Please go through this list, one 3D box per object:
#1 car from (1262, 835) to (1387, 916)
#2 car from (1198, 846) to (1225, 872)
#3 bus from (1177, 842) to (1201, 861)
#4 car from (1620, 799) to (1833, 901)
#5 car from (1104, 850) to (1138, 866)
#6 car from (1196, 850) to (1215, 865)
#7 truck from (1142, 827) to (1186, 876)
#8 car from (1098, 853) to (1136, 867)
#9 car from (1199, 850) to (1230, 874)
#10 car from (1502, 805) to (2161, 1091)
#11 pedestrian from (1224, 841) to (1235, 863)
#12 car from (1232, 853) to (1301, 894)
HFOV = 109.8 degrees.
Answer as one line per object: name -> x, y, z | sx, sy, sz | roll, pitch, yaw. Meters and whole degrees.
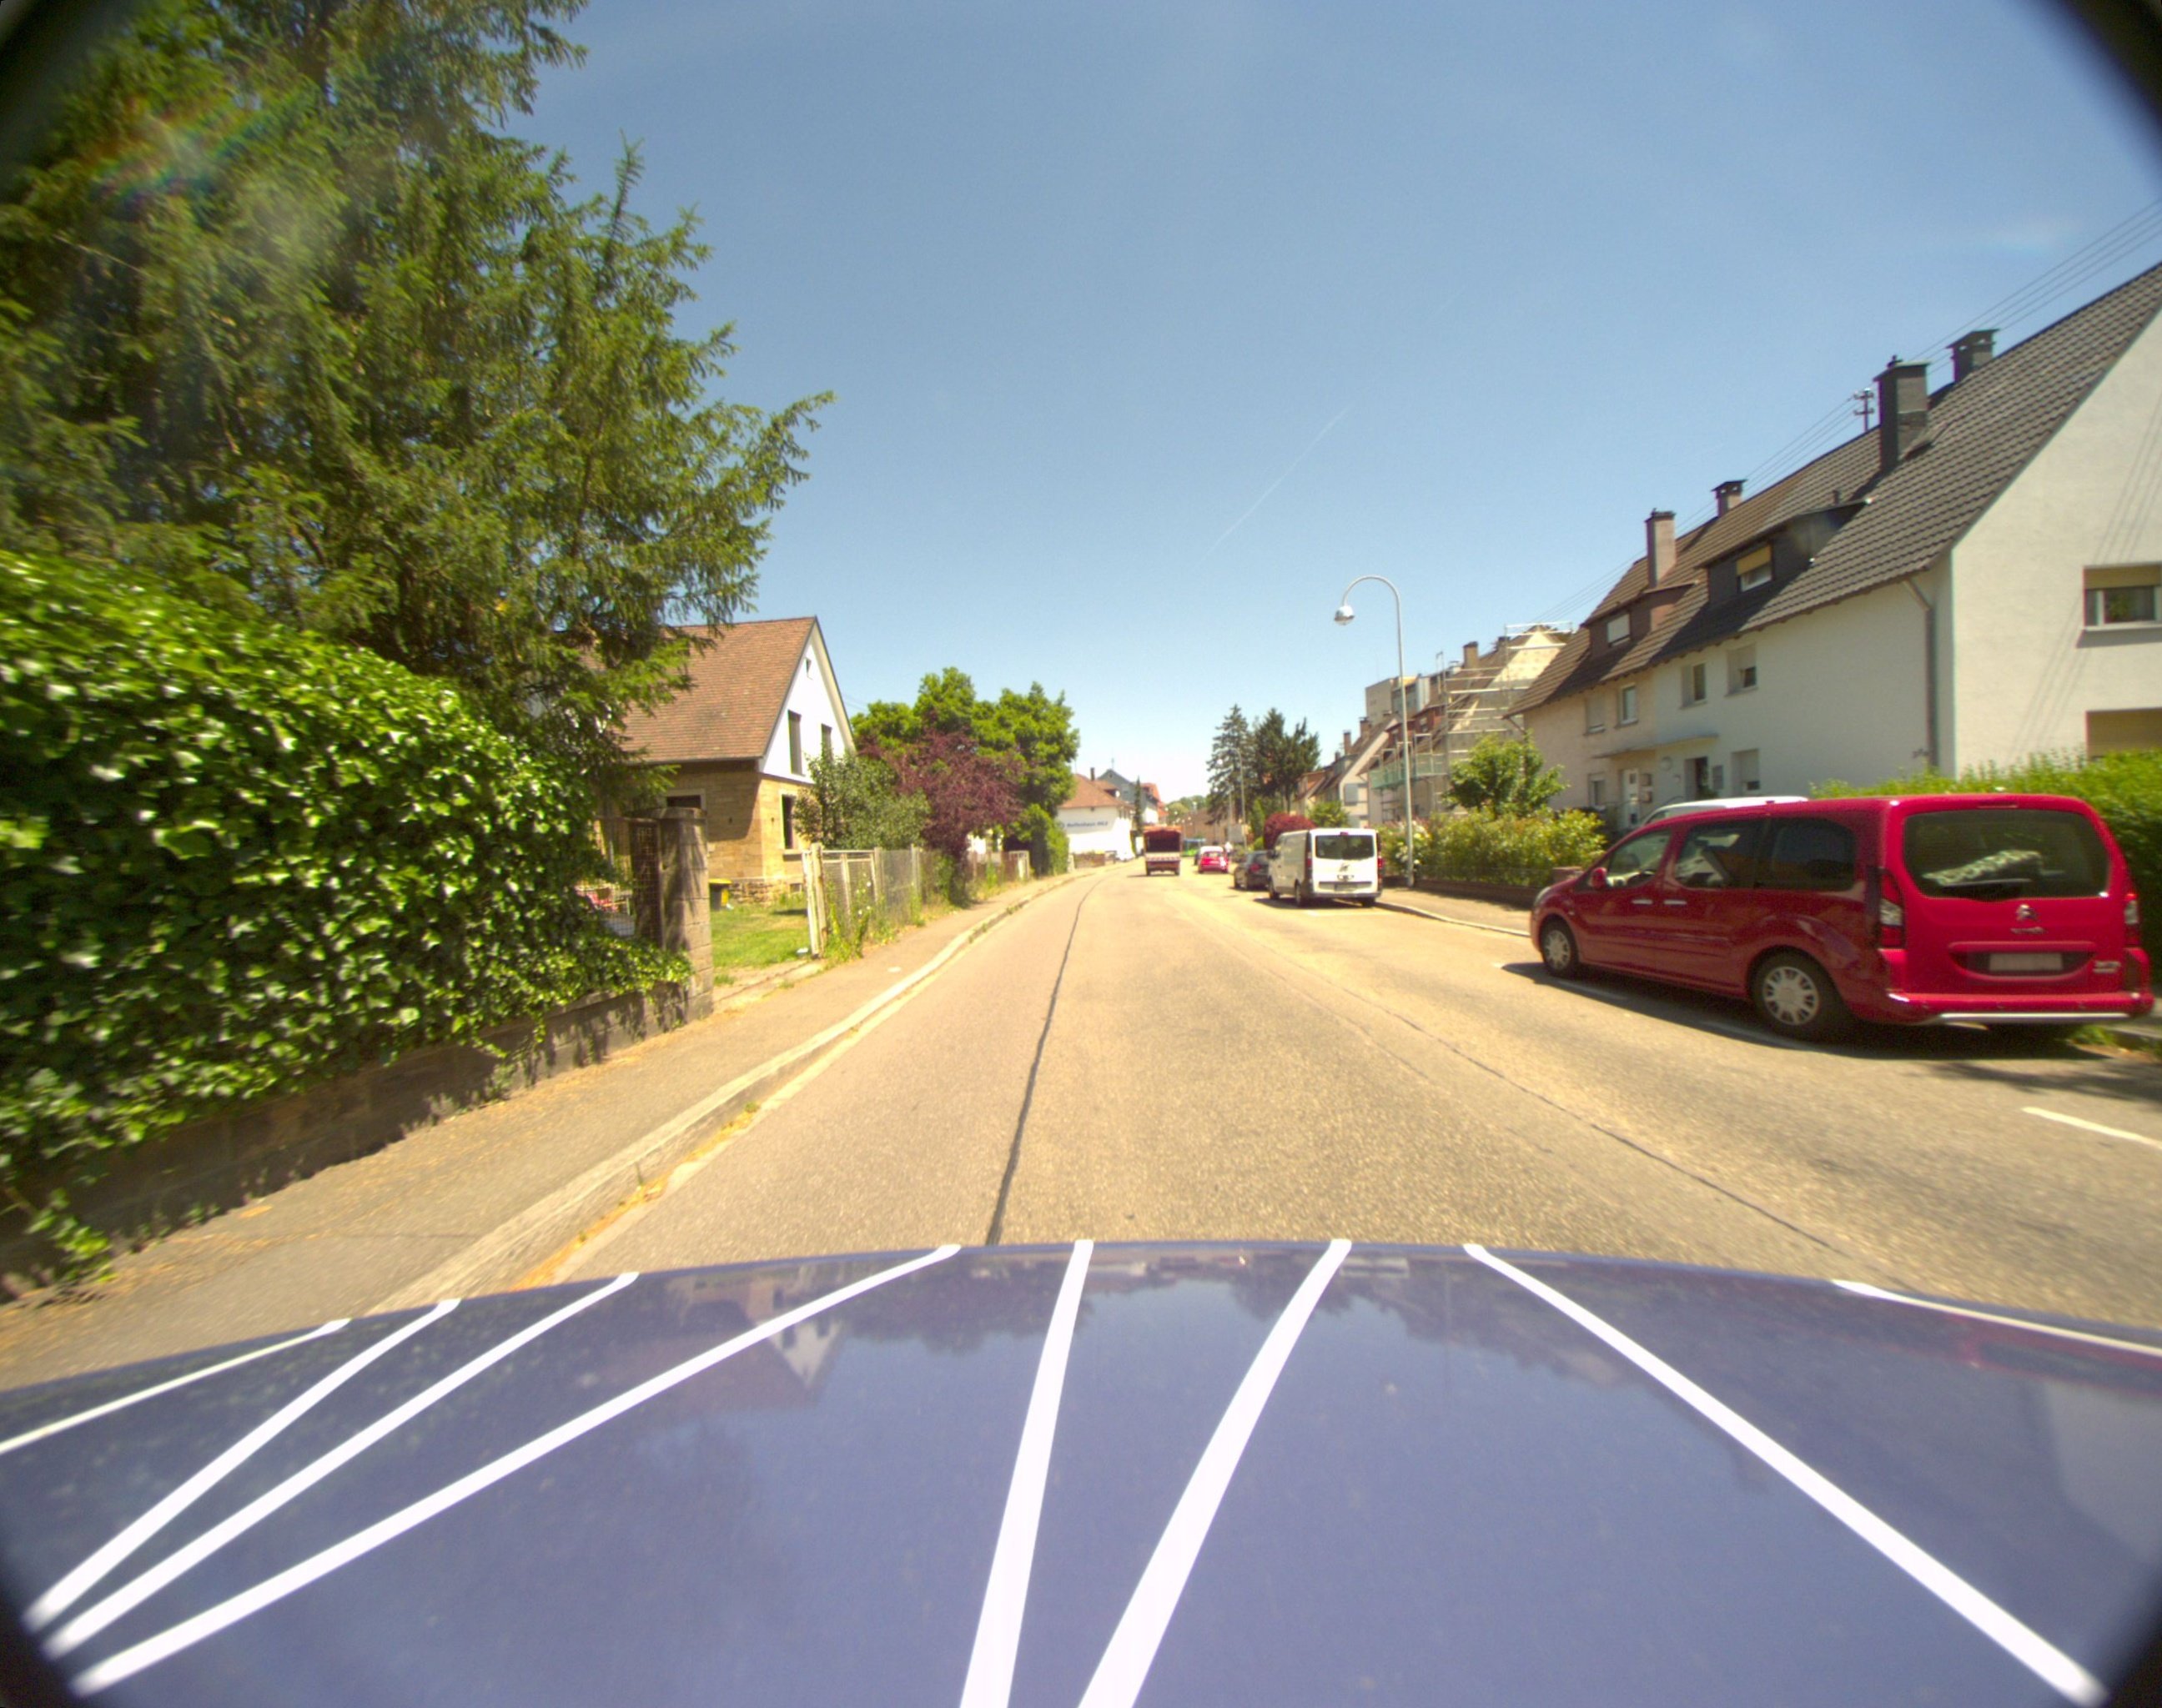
car -> 6.321, 0.496, 20.353 | 1.891, 1.870, 4.981 | -1, 0, 2
car -> 9.067, 0.330, 52.937 | 1.726, 1.726, 3.889 | 0, 0, 8
bus -> 19.090, -0.502, 133.579 | 2.908, 3.062, 12.573 | -2, 0, 13
car -> 13.873, -0.111, 16.670 | 1.718, 1.859, 4.002 | -4, 1, 10
car -> 5.411, 0.560, 102.613 | 4.300, 1.820, 1.740 | -5, 0, 4
car -> 11.715, 0.309, 71.370 | 1.772, 1.430, 4.365 | 0, 0, 10
truck -> 5.004, -0.160, 46.536 | 2.378, 2.813, 5.660 | -1, 0, 4
car -> 4.786, 0.834, 100.129 | 4.647, 1.400, 1.770 | -5, 0, 13
car -> 8.363, 0.482, 47.790 | 1.764, 1.469, 4.060 | 0, 0, 8
car -> 5.878, 0.564, 6.812 | 1.762, 1.717, 4.458 | -1, 0, 1
pedestrian -> 13.758, -0.191, 70.389 | 0.690, 1.878, 1.019 | -7, 0, 13
car -> 6.608, 0.650, 27.524 | 1.702, 1.376, 4.236 | 0, 0, 3
